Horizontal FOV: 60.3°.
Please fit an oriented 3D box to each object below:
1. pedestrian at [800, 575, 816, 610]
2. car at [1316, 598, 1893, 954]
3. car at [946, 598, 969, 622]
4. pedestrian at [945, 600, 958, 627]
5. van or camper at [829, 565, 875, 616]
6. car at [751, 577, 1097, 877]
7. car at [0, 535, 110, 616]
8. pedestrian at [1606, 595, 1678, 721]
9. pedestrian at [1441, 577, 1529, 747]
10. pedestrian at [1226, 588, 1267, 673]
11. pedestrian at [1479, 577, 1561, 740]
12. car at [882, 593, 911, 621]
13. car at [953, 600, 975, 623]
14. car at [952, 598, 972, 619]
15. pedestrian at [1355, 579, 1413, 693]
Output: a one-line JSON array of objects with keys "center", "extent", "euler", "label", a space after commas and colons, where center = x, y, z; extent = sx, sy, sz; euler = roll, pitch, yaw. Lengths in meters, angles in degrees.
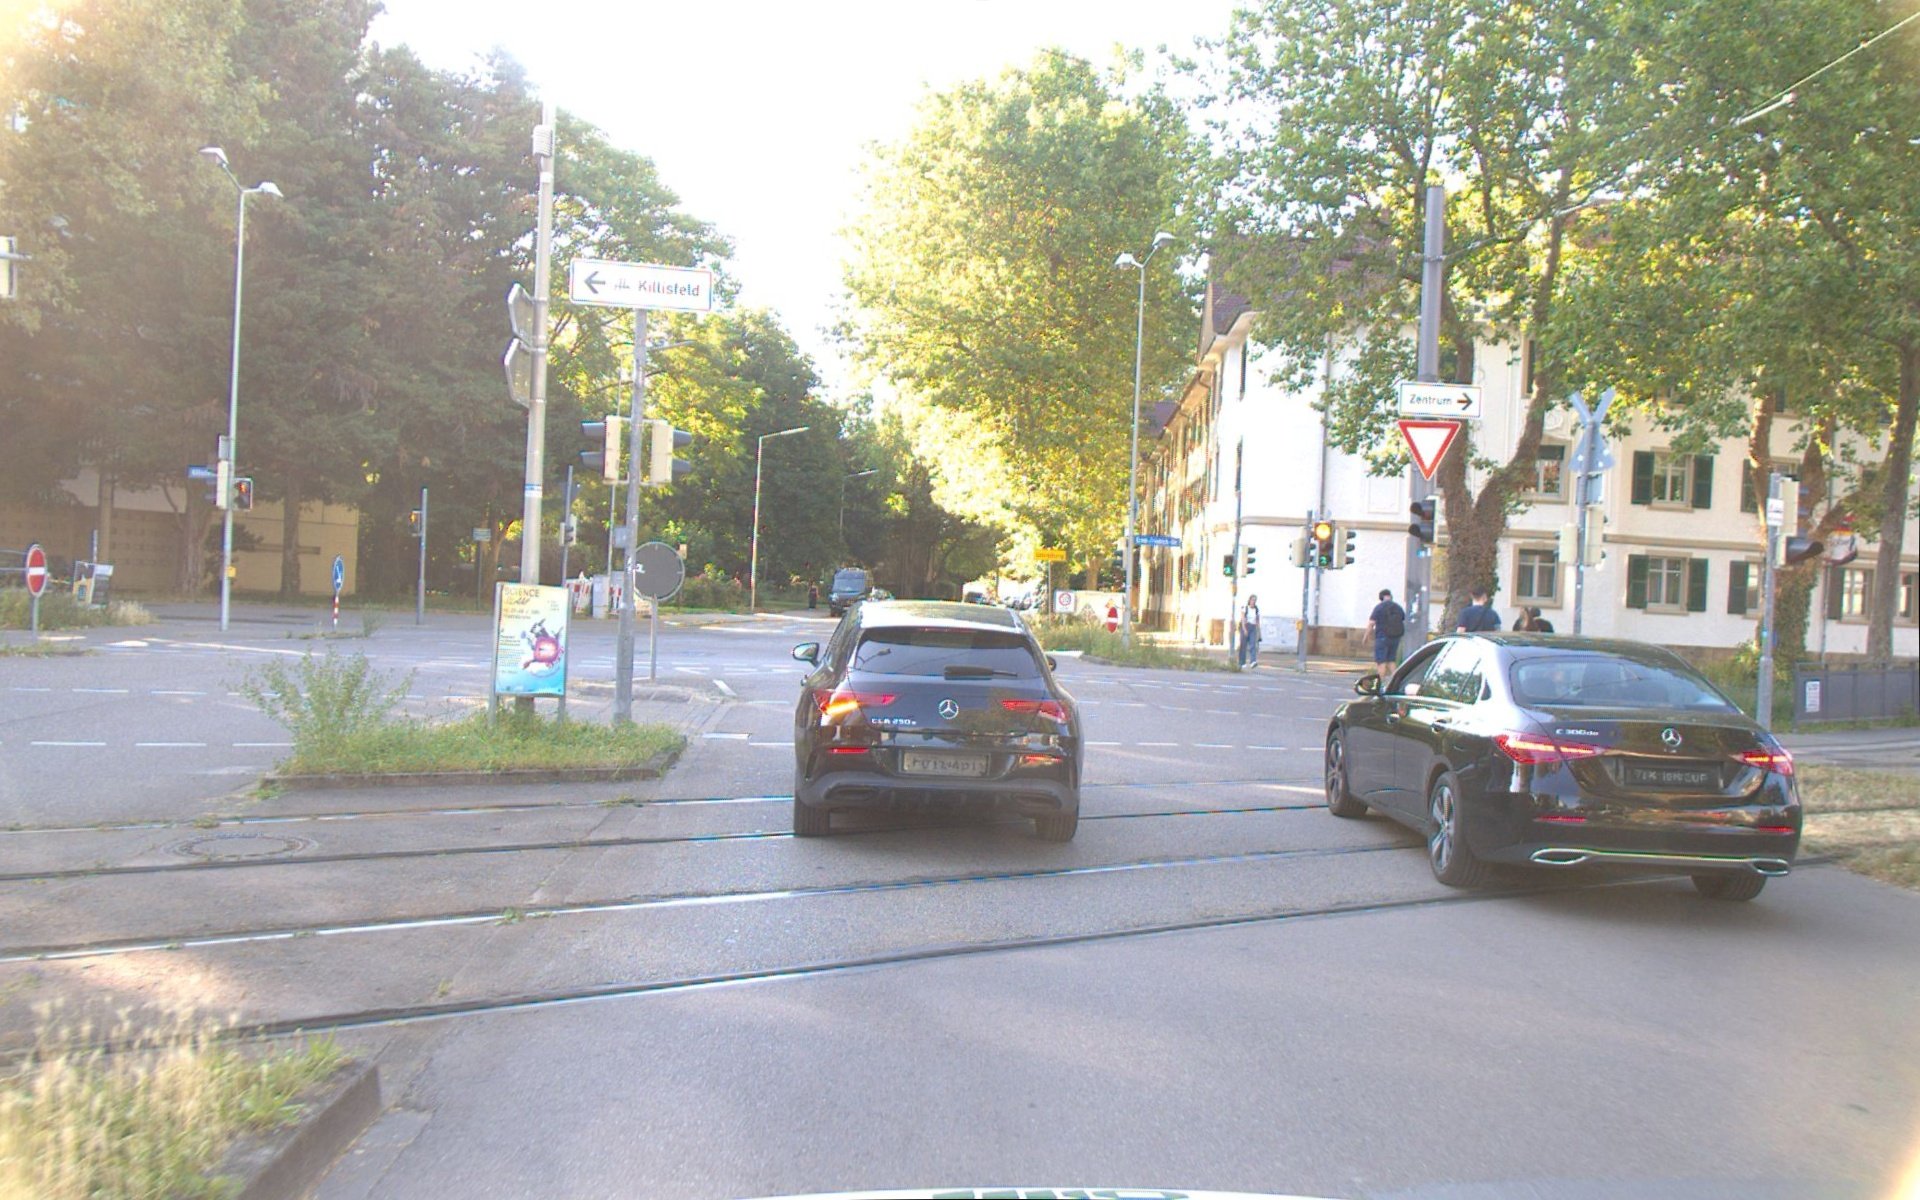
[{"center": [-8.819, -0.426, 95.997], "extent": [0.690, 1.951, 0.840], "euler": [3, -1, 7], "label": "pedestrian"}, {"center": [3.674, 0.876, 10.414], "extent": [1.851, 1.516, 4.382], "euler": [3, 2, 0], "label": "car"}, {"center": [-0.199, 0.828, 135.031], "extent": [1.698, 1.796, 4.019], "euler": [3, -1, 1], "label": "car"}, {"center": [-0.613, 0.977, 120.147], "extent": [0.692, 1.951, 0.837], "euler": [3, -1, -9], "label": "pedestrian"}, {"center": [-5.850, -0.471, 89.951], "extent": [1.953, 2.585, 4.651], "euler": [3, -1, 1], "label": "van or camper"}, {"center": [-0.123, 0.677, 11.185], "extent": [1.850, 1.475, 4.002], "euler": [3, 2, 2], "label": "car"}, {"center": [-22.880, -0.635, 39.662], "extent": [3.902, 1.805, 2.001], "euler": [3, -1, 8], "label": "car"}, {"center": [10.958, 0.921, 26.598], "extent": [0.691, 1.951, 0.839], "euler": [3, -1, -3], "label": "pedestrian"}, {"center": [6.256, 0.728, 19.720], "extent": [0.692, 1.951, 0.683], "euler": [3, -1, -8], "label": "pedestrian"}, {"center": [6.762, 0.727, 39.104], "extent": [0.691, 1.951, 0.839], "euler": [3, -1, -3], "label": "pedestrian"}, {"center": [6.929, 0.720, 20.499], "extent": [0.669, 1.951, 0.707], "euler": [3, -1, -3], "label": "pedestrian"}, {"center": [-4.469, 0.494, 116.586], "extent": [1.698, 1.796, 3.971], "euler": [3, -1, 1], "label": "car"}, {"center": [0.378, 0.966, 140.496], "extent": [1.698, 1.796, 4.019], "euler": [3, -1, 1], "label": "car"}, {"center": [0.192, 0.772, 148.504], "extent": [1.698, 1.796, 4.019], "euler": [3, -1, 1], "label": "car"}, {"center": [7.497, 0.628, 29.244], "extent": [0.691, 1.951, 0.839], "euler": [3, -1, -3], "label": "pedestrian"}]
